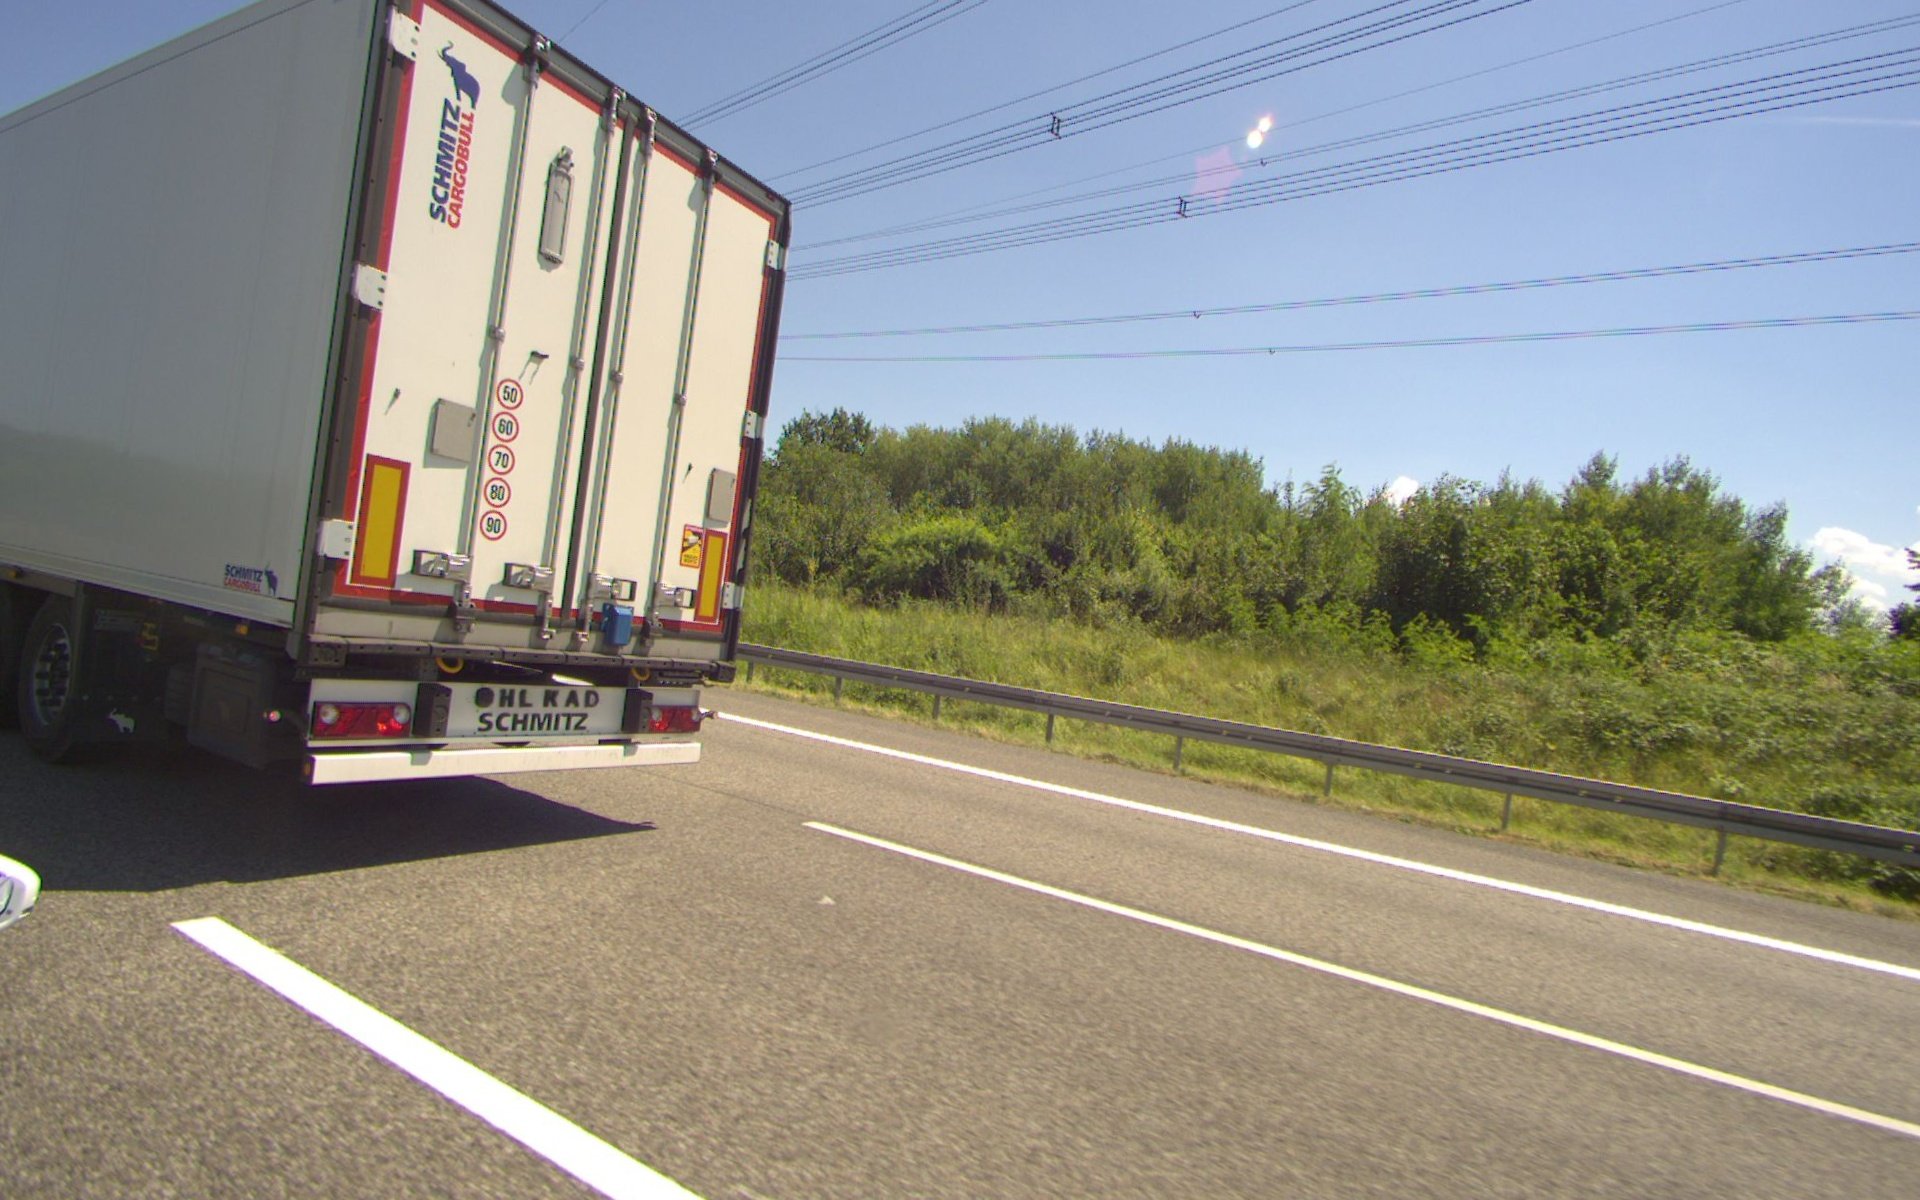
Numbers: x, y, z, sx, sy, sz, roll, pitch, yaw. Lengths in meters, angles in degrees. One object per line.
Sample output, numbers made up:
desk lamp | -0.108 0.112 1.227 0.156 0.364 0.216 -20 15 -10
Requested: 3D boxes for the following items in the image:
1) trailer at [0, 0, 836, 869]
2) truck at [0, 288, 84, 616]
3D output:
trailer | -8.543 -1.530 9.495 15.932 4.064 2.943 6 -2 32
truck | -15.024 -2.216 13.480 6.000 4.032 2.946 6 -2 32
